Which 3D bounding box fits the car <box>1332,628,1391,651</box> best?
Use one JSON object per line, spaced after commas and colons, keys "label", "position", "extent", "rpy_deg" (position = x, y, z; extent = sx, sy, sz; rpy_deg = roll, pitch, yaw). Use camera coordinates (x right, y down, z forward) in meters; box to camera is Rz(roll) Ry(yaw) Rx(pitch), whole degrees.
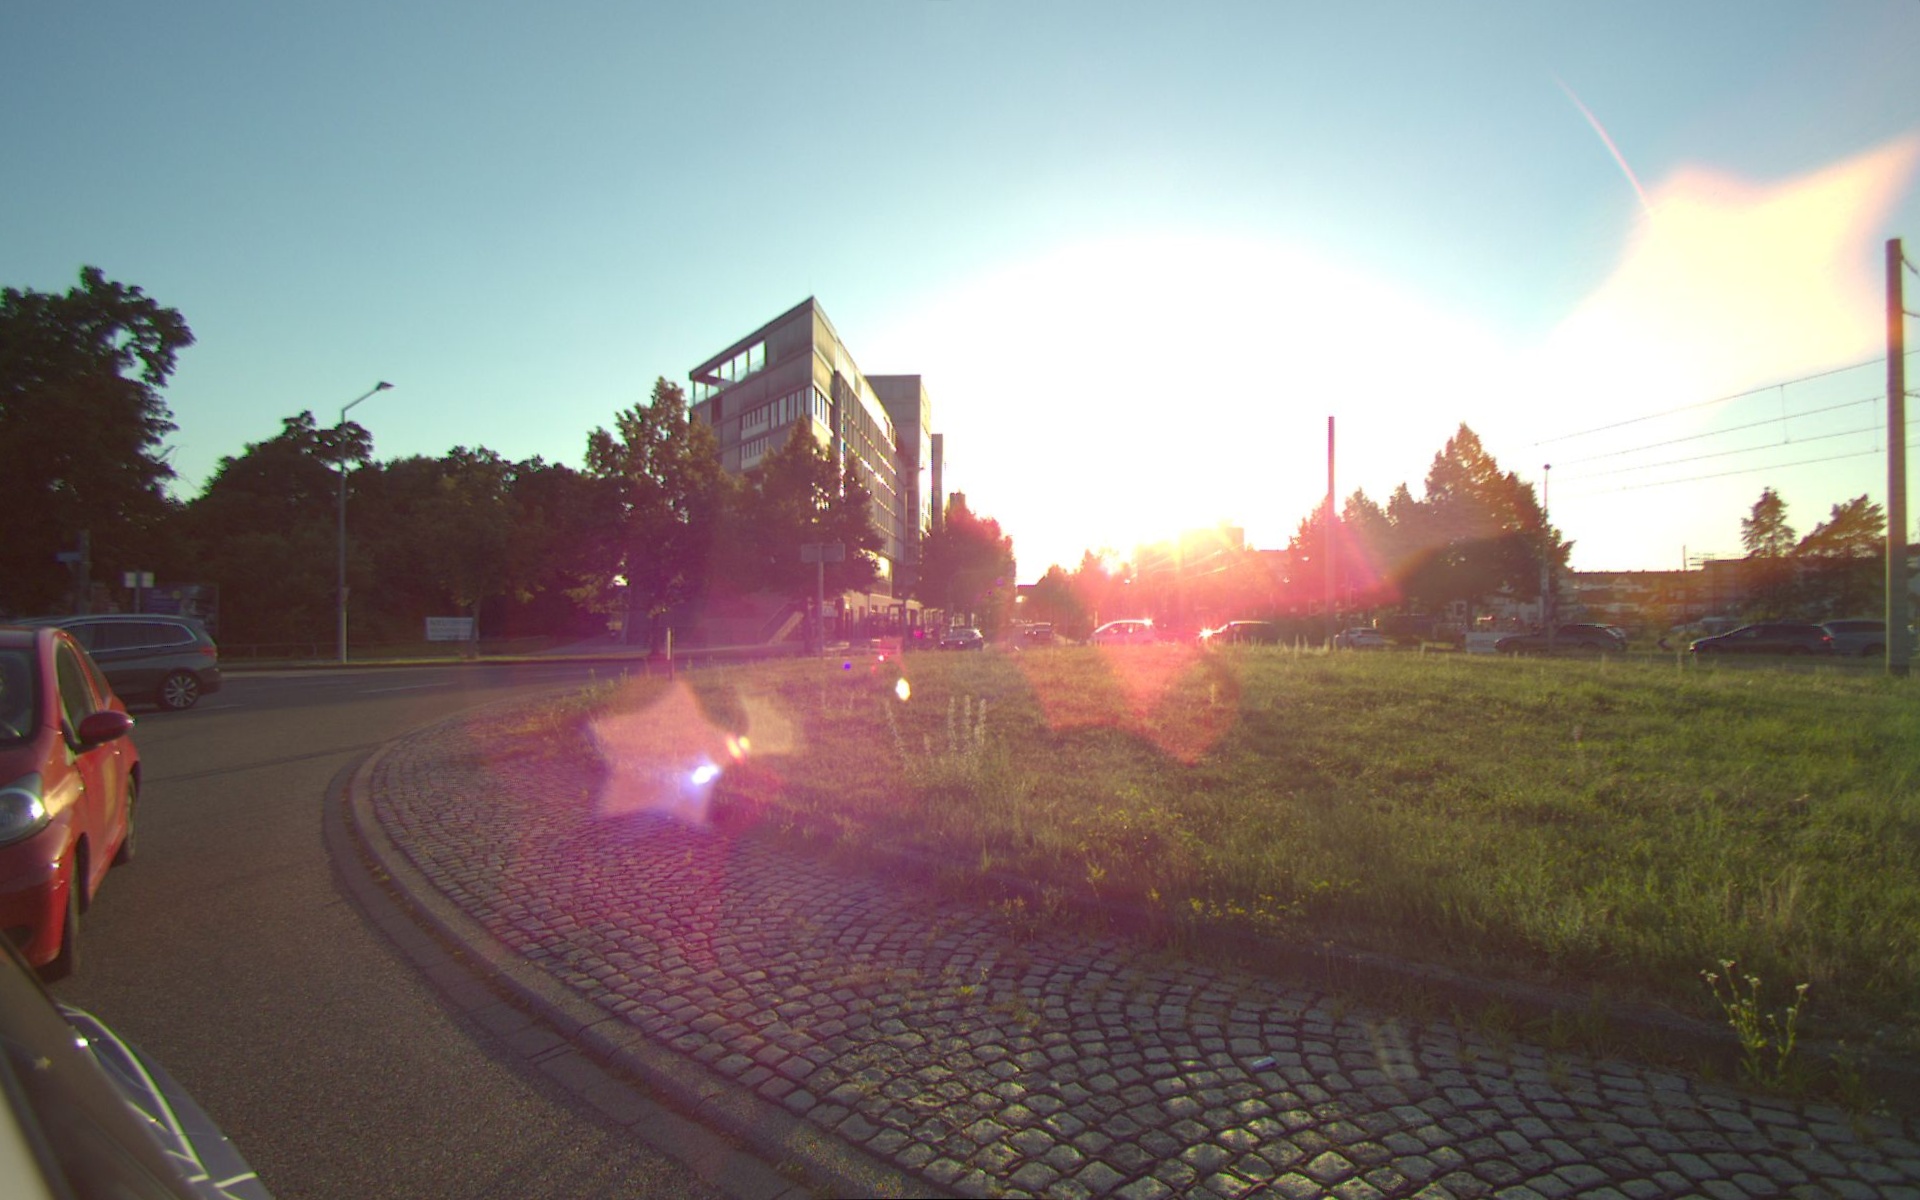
{"label": "car", "position": [25.796, 2.511, 65.191], "extent": [2.081, 1.377, 4.465], "rpy_deg": [0, -1, 1]}

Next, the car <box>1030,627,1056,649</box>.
{"label": "car", "position": [7.543, 3.465, 92.106], "extent": [1.972, 1.827, 5.303], "rpy_deg": [-2, -2, 1]}

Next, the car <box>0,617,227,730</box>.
{"label": "car", "position": [-14.002, 1.061, 15.547], "extent": [1.718, 1.590, 4.307], "rpy_deg": [-1, -1, 16]}

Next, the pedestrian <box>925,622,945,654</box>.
{"label": "pedestrian", "position": [-1.576, 2.424, 64.605], "extent": [0.995, 2.029, 0.768], "rpy_deg": [-1, 0, 29]}

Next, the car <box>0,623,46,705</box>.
{"label": "car", "position": [-20.994, 1.292, 20.498], "extent": [4.166, 1.618, 1.987], "rpy_deg": [-1, -1, 20]}

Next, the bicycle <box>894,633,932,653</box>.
{"label": "bicycle", "position": [-2.899, 2.679, 62.977], "extent": [2.315, 1.254, 0.742], "rpy_deg": [0, -1, 0]}

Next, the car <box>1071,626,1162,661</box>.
{"label": "car", "position": [7.336, 2.041, 47.725], "extent": [3.831, 1.592, 1.958], "rpy_deg": [0, -1, -7]}

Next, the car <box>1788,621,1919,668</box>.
{"label": "car", "position": [35.541, 1.689, 39.559], "extent": [1.865, 1.750, 4.638], "rpy_deg": [1, -1, -39]}

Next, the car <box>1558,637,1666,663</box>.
{"label": "car", "position": [30.884, 2.349, 47.988], "extent": [1.664, 1.113, 4.005], "rpy_deg": [1, -2, -42]}

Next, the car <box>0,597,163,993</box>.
{"label": "car", "position": [-5.171, 0.738, 4.951], "extent": [1.661, 1.431, 4.011], "rpy_deg": [1, -1, -34]}

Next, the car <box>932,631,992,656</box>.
{"label": "car", "position": [0.161, 2.495, 58.584], "extent": [1.743, 1.389, 4.086], "rpy_deg": [-1, -1, 28]}

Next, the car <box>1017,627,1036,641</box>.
{"label": "car", "position": [7.519, 3.878, 115.358], "extent": [1.973, 1.464, 3.998], "rpy_deg": [0, -1, 1]}

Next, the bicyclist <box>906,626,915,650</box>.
{"label": "bicyclist", "position": [-3.079, 2.355, 62.999], "extent": [0.602, 1.451, 0.692], "rpy_deg": [0, -1, -2]}

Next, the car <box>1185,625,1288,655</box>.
{"label": "car", "position": [13.056, 1.890, 47.975], "extent": [4.325, 1.386, 1.998], "rpy_deg": [0, -1, 2]}

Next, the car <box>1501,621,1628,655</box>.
{"label": "car", "position": [25.723, 1.595, 43.119], "extent": [4.351, 1.386, 1.972], "rpy_deg": [-1, -2, 42]}

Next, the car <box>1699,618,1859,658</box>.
{"label": "car", "position": [30.626, 1.383, 37.935], "extent": [1.969, 1.386, 4.389], "rpy_deg": [1, -2, -42]}
